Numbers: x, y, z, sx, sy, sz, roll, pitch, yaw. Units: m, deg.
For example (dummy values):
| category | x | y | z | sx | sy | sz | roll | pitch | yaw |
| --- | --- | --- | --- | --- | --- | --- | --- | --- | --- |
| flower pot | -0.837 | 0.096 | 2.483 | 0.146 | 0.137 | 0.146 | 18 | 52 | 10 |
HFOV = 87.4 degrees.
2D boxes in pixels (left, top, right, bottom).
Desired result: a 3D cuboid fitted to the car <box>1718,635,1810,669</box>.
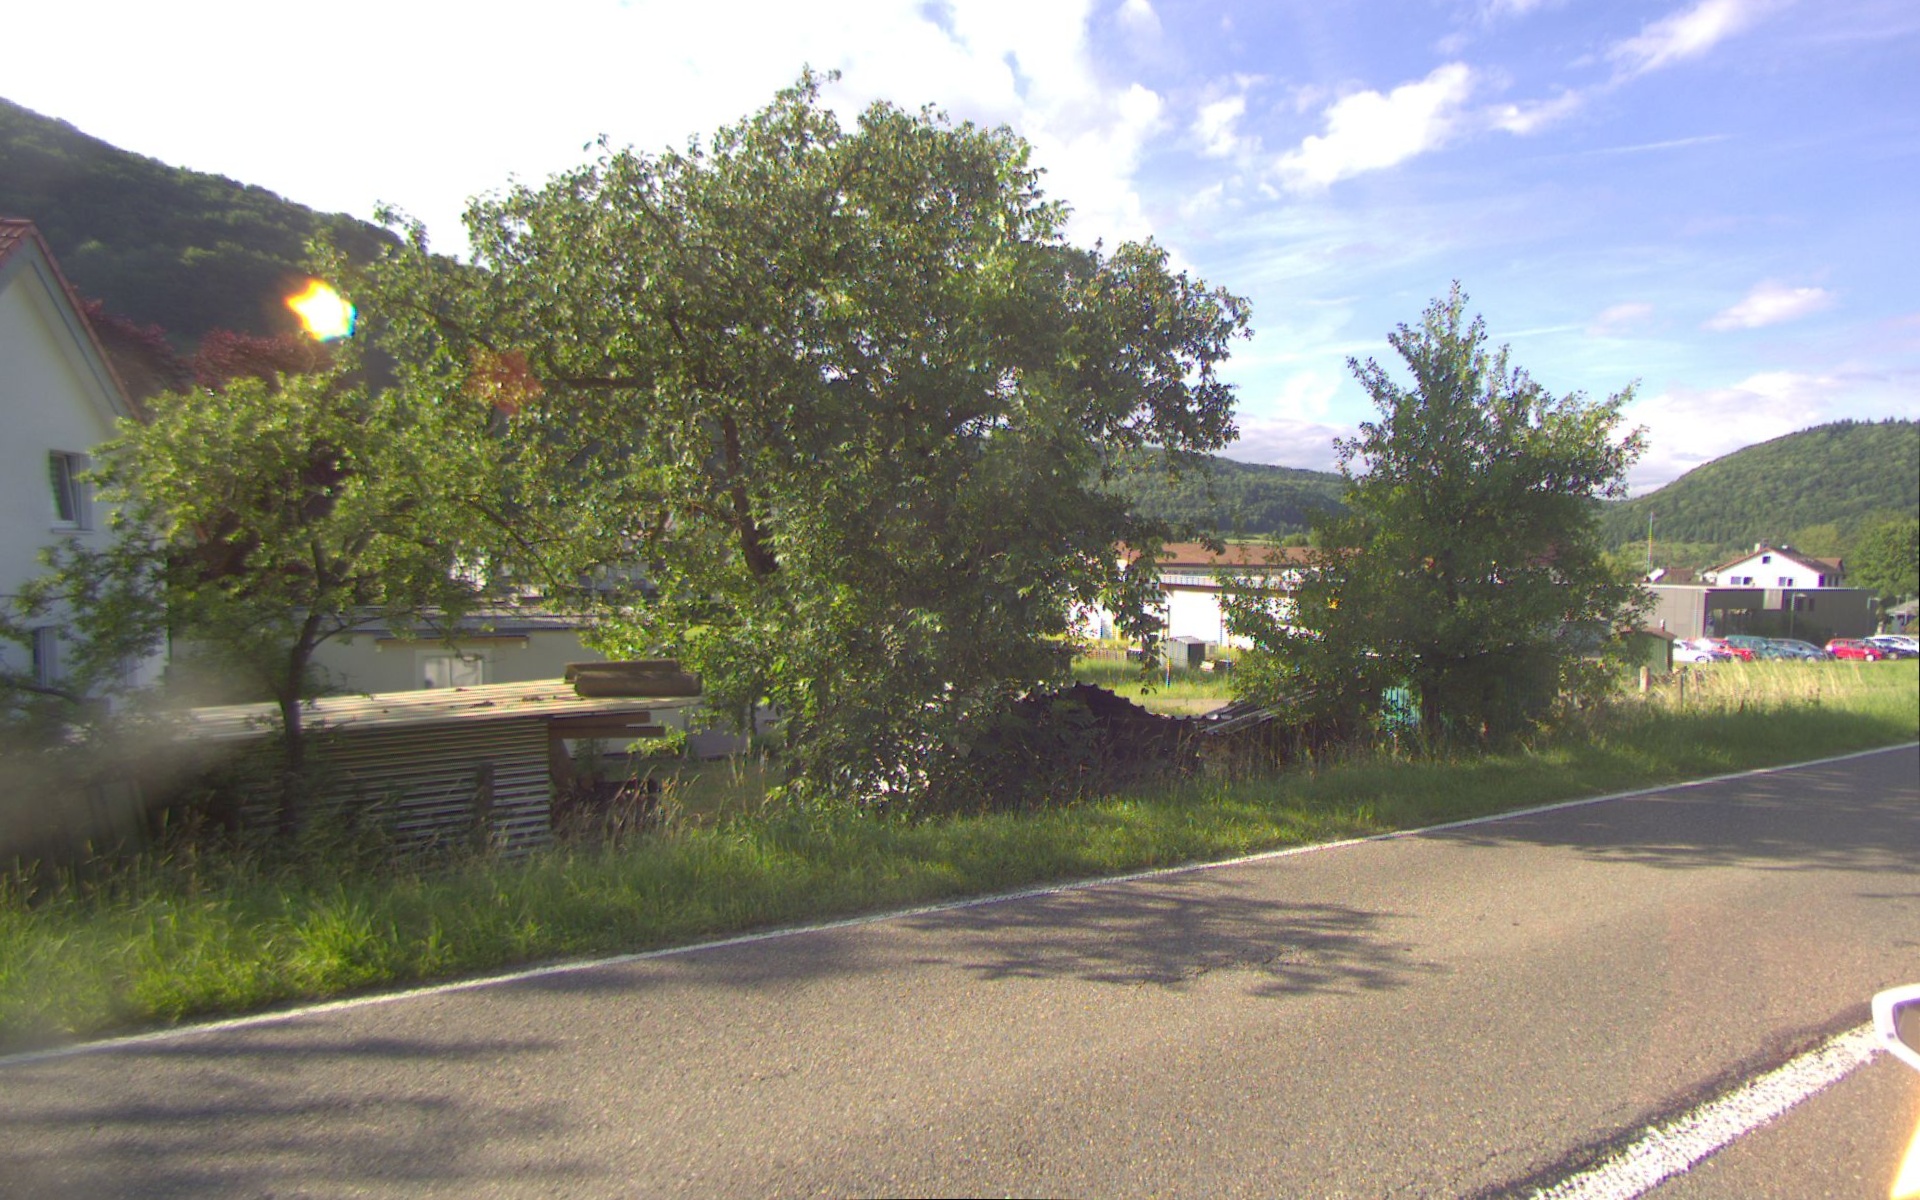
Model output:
| category | x | y | z | sx | sy | sz | roll | pitch | yaw |
| --- | --- | --- | --- | --- | --- | --- | --- | --- | --- |
| car | 53.096 | 3.415 | 66.424 | 1.980 | 2.034 | 4.378 | 2 | 0 | -34 |

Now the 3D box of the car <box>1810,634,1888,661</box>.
| category | x | y | z | sx | sy | sz | roll | pitch | yaw |
| --- | --- | --- | --- | --- | --- | --- | --- | --- | --- |
| car | 65.528 | 3.483 | 74.090 | 1.980 | 1.733 | 3.961 | 2 | 0 | -34 |

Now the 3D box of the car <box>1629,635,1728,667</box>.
| category | x | y | z | sx | sy | sz | roll | pitch | yaw |
| --- | --- | --- | --- | --- | --- | --- | --- | --- | --- |
| car | 45.000 | 3.167 | 63.009 | 1.980 | 1.733 | 4.700 | 2 | 0 | -34 |

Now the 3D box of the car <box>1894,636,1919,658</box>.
| category | x | y | z | sx | sy | sz | roll | pitch | yaw |
| --- | --- | --- | --- | --- | --- | --- | --- | --- | --- |
| car | 80.107 | 3.954 | 83.038 | 1.980 | 1.733 | 3.961 | 2 | 0 | -34 |

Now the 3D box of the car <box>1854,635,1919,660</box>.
| category | x | y | z | sx | sy | sz | roll | pitch | yaw |
| --- | --- | --- | --- | --- | --- | --- | --- | --- | --- |
| car | 72.540 | 3.708 | 78.224 | 1.980 | 1.733 | 3.961 | 2 | 0 | -34 |

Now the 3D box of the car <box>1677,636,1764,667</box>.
| category | x | y | z | sx | sy | sz | roll | pitch | yaw |
| --- | --- | --- | --- | --- | --- | --- | --- | --- | --- |
| car | 48.097 | 3.255 | 63.580 | 1.980 | 1.733 | 3.961 | 2 | 0 | -34 |

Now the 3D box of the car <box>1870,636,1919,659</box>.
| category | x | y | z | sx | sy | sz | roll | pitch | yaw |
| --- | --- | --- | --- | --- | --- | --- | --- | --- | --- |
| car | 75.303 | 3.797 | 79.930 | 1.980 | 1.733 | 3.961 | 2 | 0 | -34 |

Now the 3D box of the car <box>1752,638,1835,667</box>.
| category | x | y | z | sx | sy | sz | roll | pitch | yaw |
| --- | --- | --- | --- | --- | --- | --- | --- | --- | --- |
| car | 56.639 | 3.527 | 68.276 | 1.980 | 1.733 | 3.961 | 2 | 0 | -34 |

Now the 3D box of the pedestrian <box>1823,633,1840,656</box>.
| category | x | y | z | sx | sy | sz | roll | pitch | yaw |
| --- | --- | --- | --- | --- | --- | --- | --- | --- | --- |
| pedestrian | 76.187 | 3.881 | 87.811 | 0.963 | 2.040 | 0.820 | 2 | 0 | -33 |
